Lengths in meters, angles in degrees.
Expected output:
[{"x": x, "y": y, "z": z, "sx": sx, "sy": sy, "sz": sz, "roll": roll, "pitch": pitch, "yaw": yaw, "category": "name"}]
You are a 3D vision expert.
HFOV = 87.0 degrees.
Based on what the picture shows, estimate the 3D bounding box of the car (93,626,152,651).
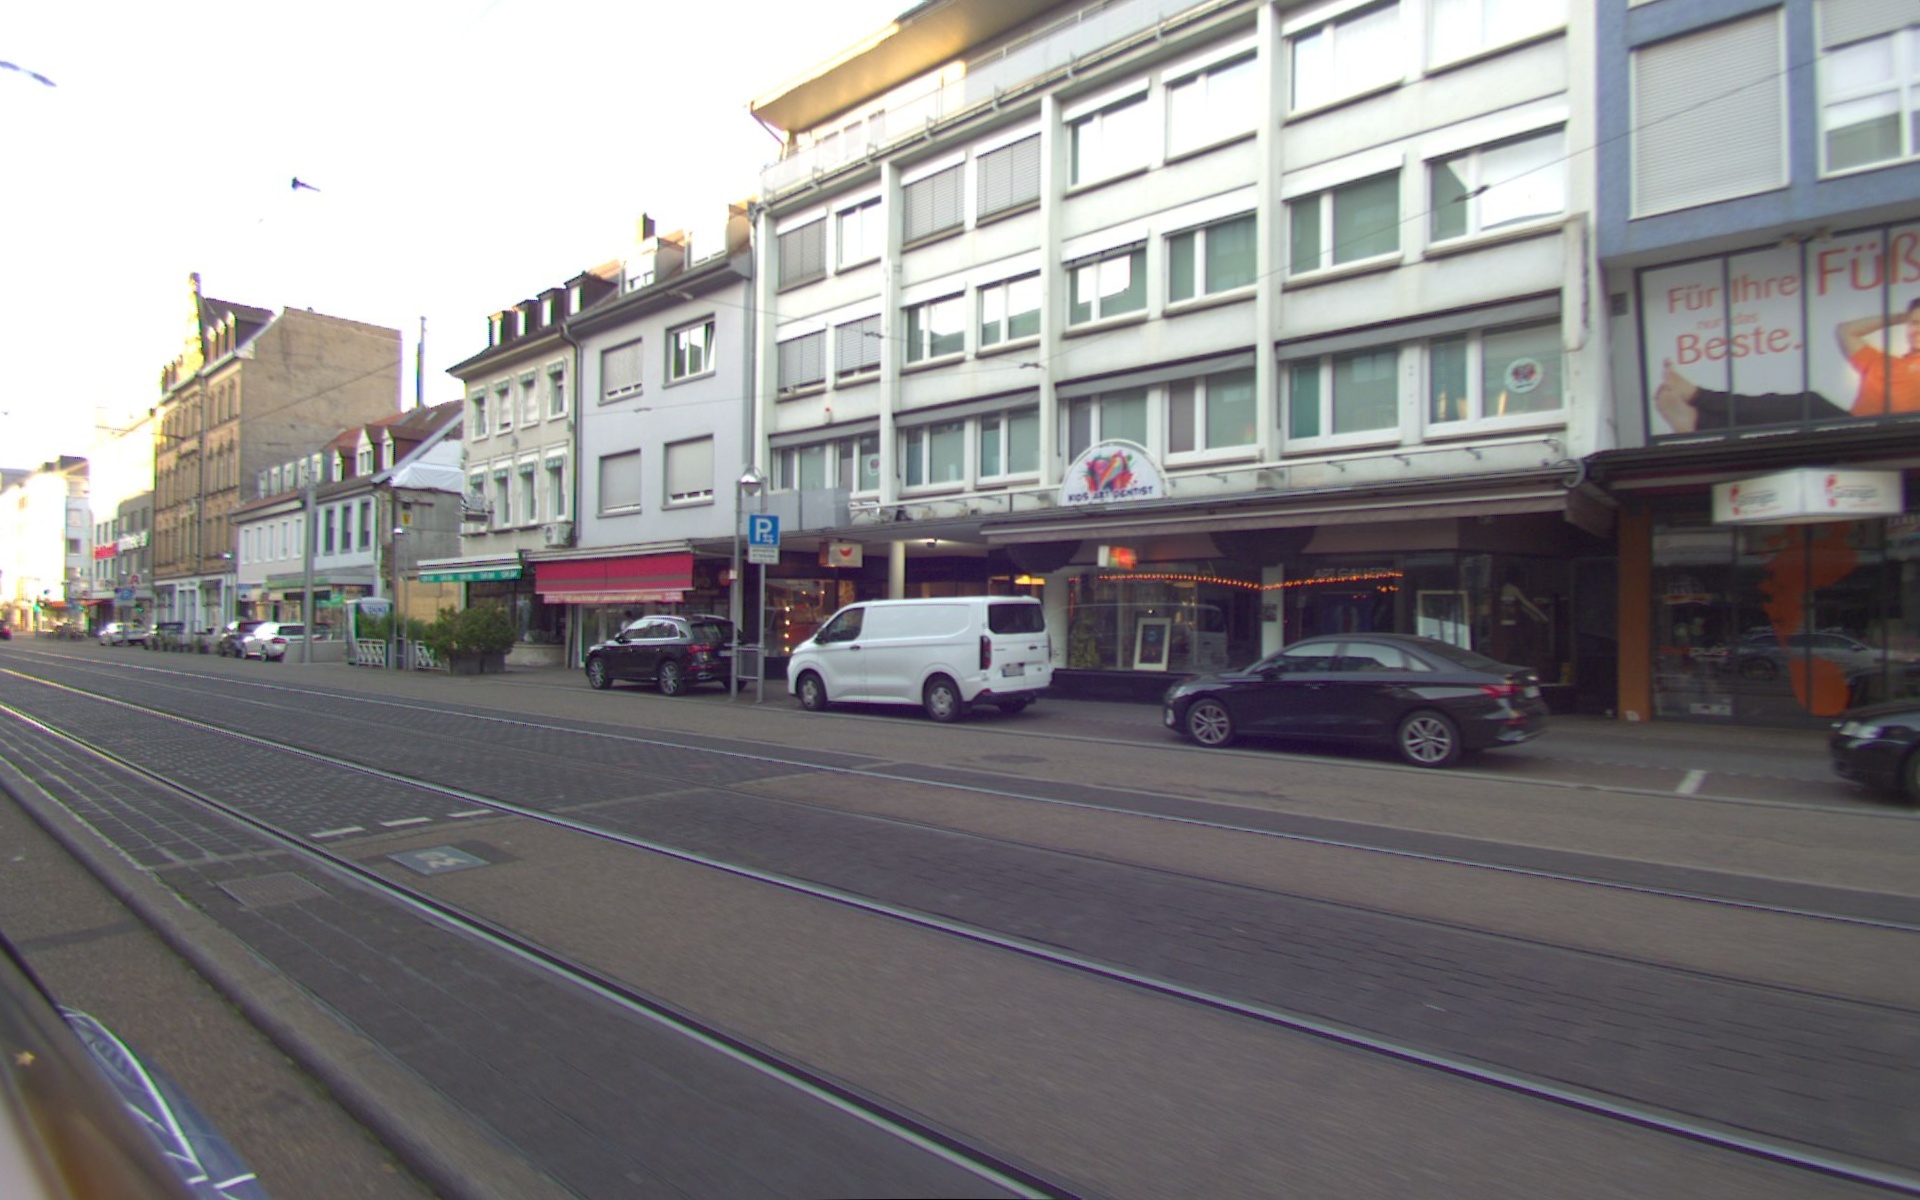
[{"x": -51.212, "y": 2.328, "z": 61.857, "sx": 4.399, "sy": 1.431, "sz": 1.974, "roll": -1, "pitch": 0, "yaw": 39, "category": "car"}]

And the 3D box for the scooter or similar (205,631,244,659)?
[{"x": -32.862, "y": 2.017, "z": 45.223, "sx": 0.311, "sy": 1.177, "sz": 1.347, "roll": -1, "pitch": 0, "yaw": 43, "category": "scooter or similar"}]

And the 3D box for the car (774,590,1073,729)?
[{"x": -0.756, "y": 0.886, "z": 17.209, "sx": 5.096, "sy": 2.029, "sz": 1.944, "roll": -1, "pitch": 0, "yaw": 40, "category": "car"}]

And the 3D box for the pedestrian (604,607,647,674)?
[{"x": -9.226, "y": 1.112, "z": 27.951, "sx": 0.818, "sy": 1.795, "sz": 0.809, "roll": -1, "pitch": 0, "yaw": 41, "category": "pedestrian"}]

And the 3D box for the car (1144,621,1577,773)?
[{"x": 4.722, "y": 1.019, "z": 12.363, "sx": 4.569, "sy": 1.437, "sz": 1.852, "roll": -1, "pitch": 0, "yaw": 41, "category": "car"}]

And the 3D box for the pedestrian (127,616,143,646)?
[{"x": -56.477, "y": 2.115, "z": 69.291, "sx": 0.738, "sy": 2.029, "sz": 1.049, "roll": -1, "pitch": 0, "yaw": -45, "category": "pedestrian"}]

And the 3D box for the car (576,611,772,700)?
[{"x": -6.386, "y": 1.126, "z": 22.335, "sx": 4.586, "sy": 1.710, "sz": 1.973, "roll": -1, "pitch": 0, "yaw": 41, "category": "car"}]

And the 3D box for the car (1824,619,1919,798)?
[{"x": 9.592, "y": 0.895, "z": 8.044, "sx": 4.090, "sy": 1.472, "sz": 1.771, "roll": -1, "pitch": -2, "yaw": 42, "category": "car"}]

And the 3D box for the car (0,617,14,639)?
[{"x": -73.513, "y": 2.124, "z": 76.869, "sx": 3.997, "sy": 1.574, "sz": 1.973, "roll": -1, "pitch": 0, "yaw": 40, "category": "car"}]

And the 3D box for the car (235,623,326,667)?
[{"x": -26.832, "y": 1.724, "z": 39.888, "sx": 4.621, "sy": 1.568, "sz": 1.871, "roll": -1, "pitch": 0, "yaw": 41, "category": "car"}]

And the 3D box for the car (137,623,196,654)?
[{"x": -42.132, "y": 1.988, "z": 53.703, "sx": 3.814, "sy": 1.504, "sz": 1.822, "roll": -1, "pitch": 0, "yaw": 41, "category": "car"}]

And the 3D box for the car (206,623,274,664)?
[{"x": -30.709, "y": 1.818, "z": 43.132, "sx": 3.469, "sy": 1.582, "sz": 1.638, "roll": -1, "pitch": 0, "yaw": 41, "category": "car"}]
